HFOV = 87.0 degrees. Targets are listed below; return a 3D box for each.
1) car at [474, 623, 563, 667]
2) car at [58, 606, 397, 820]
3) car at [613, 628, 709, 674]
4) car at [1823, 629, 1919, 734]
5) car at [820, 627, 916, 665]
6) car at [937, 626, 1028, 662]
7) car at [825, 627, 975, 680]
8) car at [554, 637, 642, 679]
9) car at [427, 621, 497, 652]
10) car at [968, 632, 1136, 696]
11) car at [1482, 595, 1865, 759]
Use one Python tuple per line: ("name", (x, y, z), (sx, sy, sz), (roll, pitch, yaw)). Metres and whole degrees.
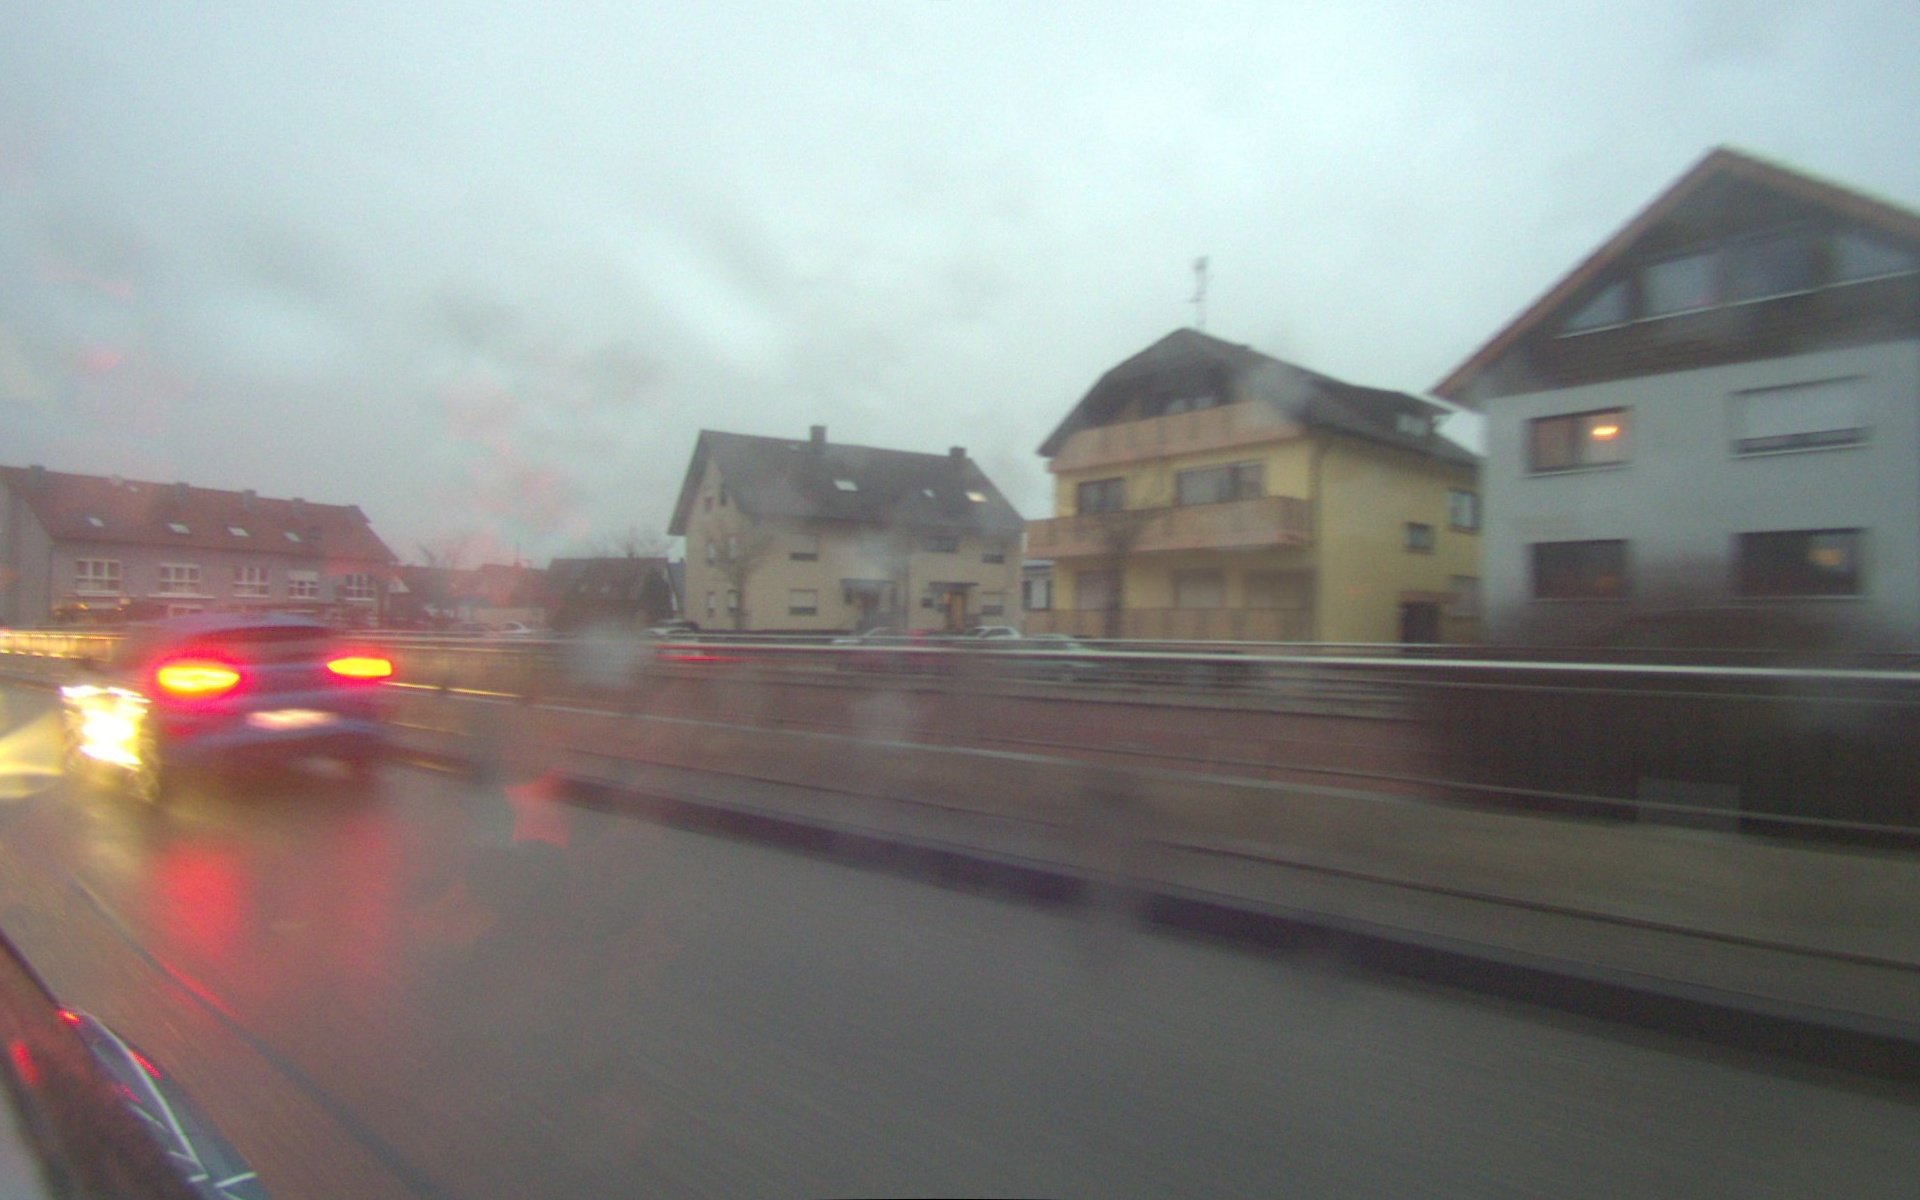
("car", (-20.986, 2.124, 48.051), (4.350, 1.919, 1.975), (-2, 0, 37))
("car", (-6.898, 0.882, 9.398), (3.778, 1.548, 1.714), (-2, 0, 41))
("car", (-11.754, 1.953, 39.672), (3.985, 1.636, 1.797), (-2, 0, 43))
("car", (15.393, 1.209, 14.873), (4.032, 1.535, 1.749), (-1, -2, 44))
("car", (-4.193, 2.067, 46.214), (3.971, 1.535, 1.819), (-2, 0, -30))
("car", (1.095, 2.097, 49.161), (3.932, 1.556, 2.006), (-1, 0, -31))
("car", (-1.856, 1.534, 30.173), (4.650, 1.453, 1.855), (-2, -2, 45))
("car", (-15.314, 2.411, 42.695), (4.000, 1.529, 1.876), (0, 1, 43))
("car", (-25.297, 1.840, 51.377), (3.829, 1.425, 1.660), (0, 1, 38))
("car", (2.350, 1.624, 26.588), (4.144, 1.517, 1.856), (-2, -2, 44))
("car", (9.135, 0.899, 13.177), (3.858, 1.817, 1.781), (-1, -2, 40))
